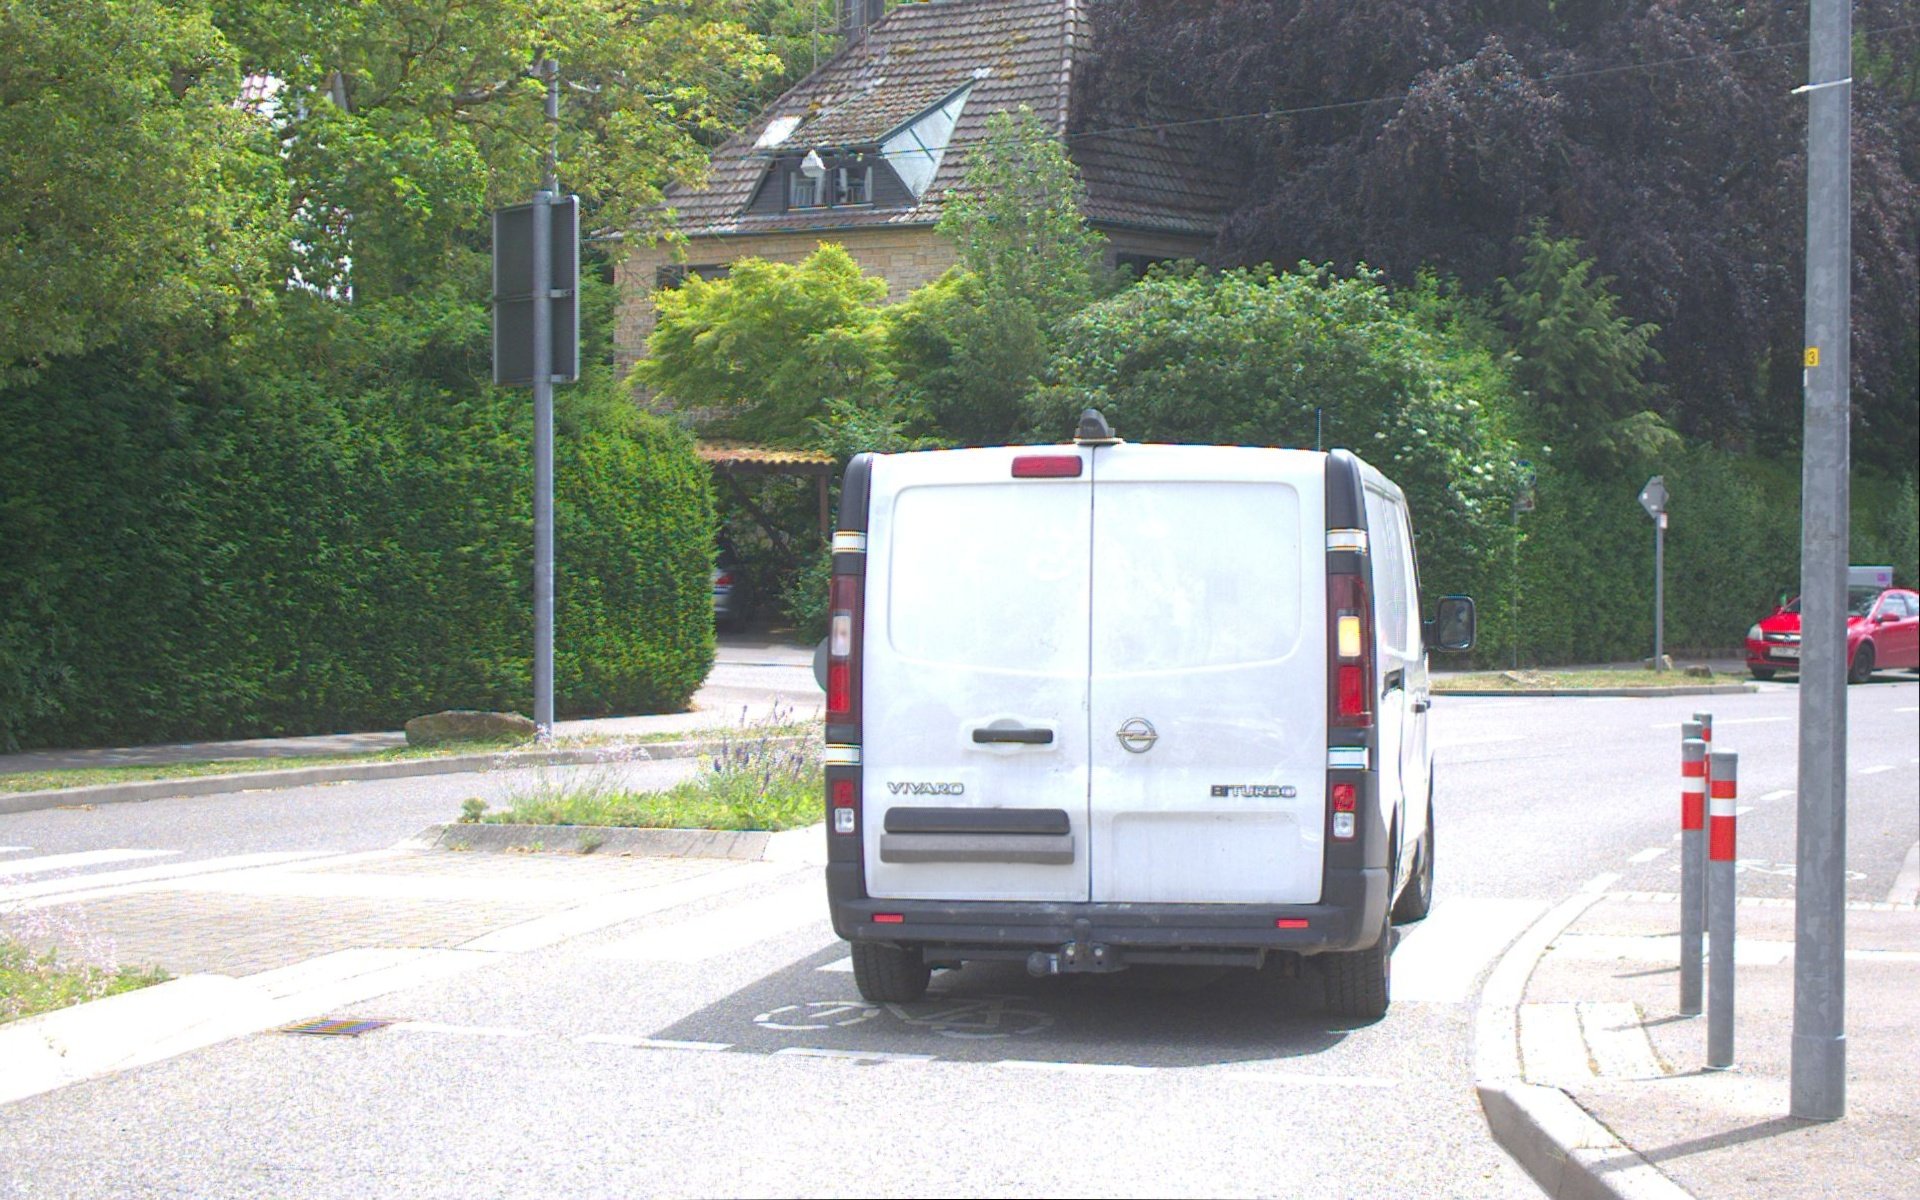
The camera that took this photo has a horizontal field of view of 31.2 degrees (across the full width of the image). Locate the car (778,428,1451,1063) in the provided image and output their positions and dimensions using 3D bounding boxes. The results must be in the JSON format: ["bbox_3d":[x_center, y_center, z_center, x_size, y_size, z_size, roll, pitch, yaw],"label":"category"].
[{"bbox_3d":[0.810,0.417,13.258,1.939,1.954,4.831,1,1,10],"label":"car"}]

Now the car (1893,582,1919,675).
[{"bbox_3d":[16.653,0.480,55.272,1.653,1.445,4.095,3,2,39],"label":"car"}]

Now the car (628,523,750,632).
[{"bbox_3d":[-4.054,-0.372,51.870,1.722,1.504,4.001,1,2,-4],"label":"car"}]

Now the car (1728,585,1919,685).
[{"bbox_3d":[13.274,0.504,51.197,1.664,1.373,4.555,3,2,40],"label":"car"}]
